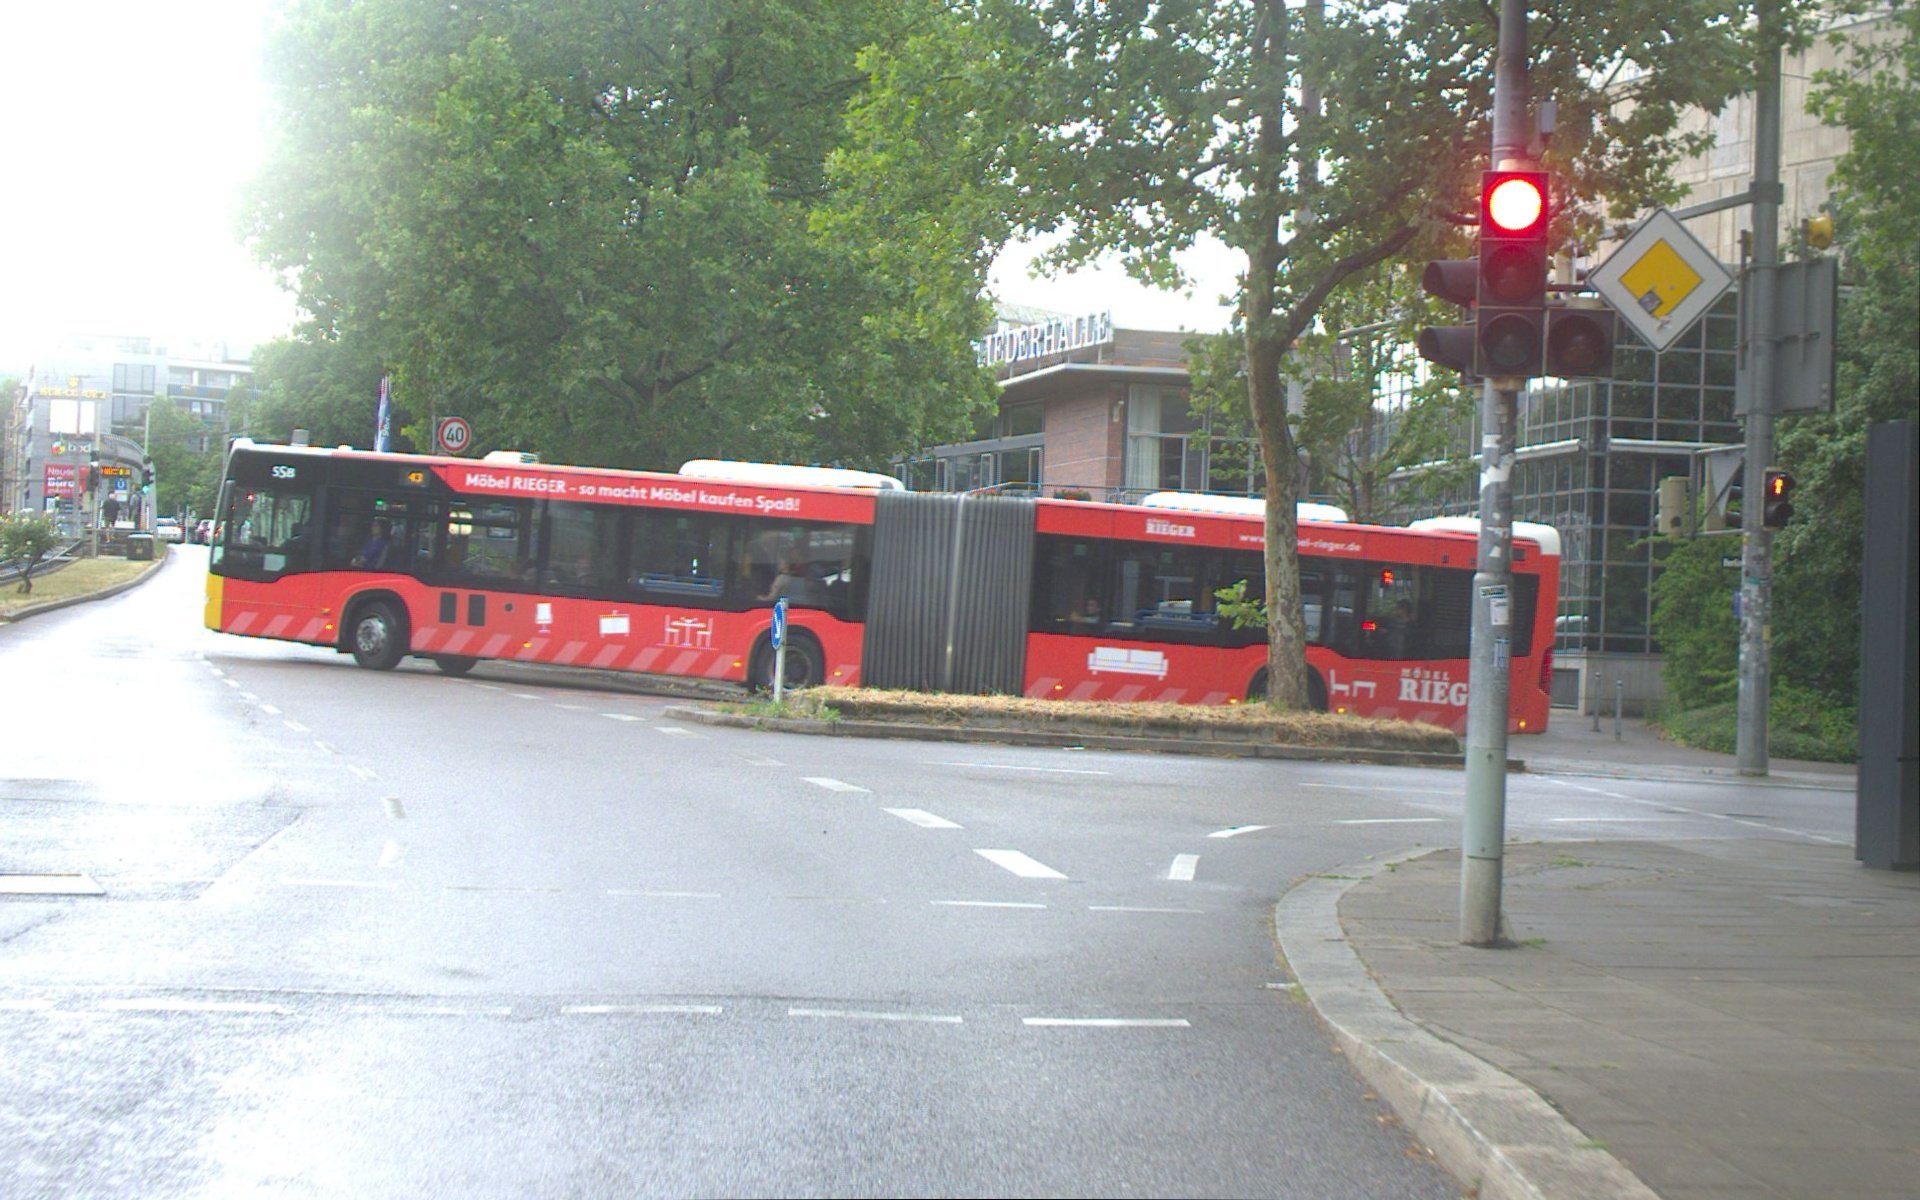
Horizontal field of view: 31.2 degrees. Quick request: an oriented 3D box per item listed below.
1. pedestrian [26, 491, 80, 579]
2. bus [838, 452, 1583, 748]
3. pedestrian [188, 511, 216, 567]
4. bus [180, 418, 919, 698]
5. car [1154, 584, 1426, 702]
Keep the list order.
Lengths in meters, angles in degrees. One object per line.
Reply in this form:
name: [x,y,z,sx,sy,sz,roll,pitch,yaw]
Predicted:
pedestrian: [-17.479,-1.255,66.263,0.738,1.634,0.871,4,0,-4]
bus: [3.126,0.005,44.372,9.154,3.100,2.664,4,0,-1]
pedestrian: [-45.008,-3.618,204.165,1.353,3.241,0.983,4,0,-6]
bus: [-5.518,-0.579,46.018,9.433,3.100,2.556,4,0,18]
car: [6.392,0.827,66.538,4.745,1.937,2.001,4,0,-22]
